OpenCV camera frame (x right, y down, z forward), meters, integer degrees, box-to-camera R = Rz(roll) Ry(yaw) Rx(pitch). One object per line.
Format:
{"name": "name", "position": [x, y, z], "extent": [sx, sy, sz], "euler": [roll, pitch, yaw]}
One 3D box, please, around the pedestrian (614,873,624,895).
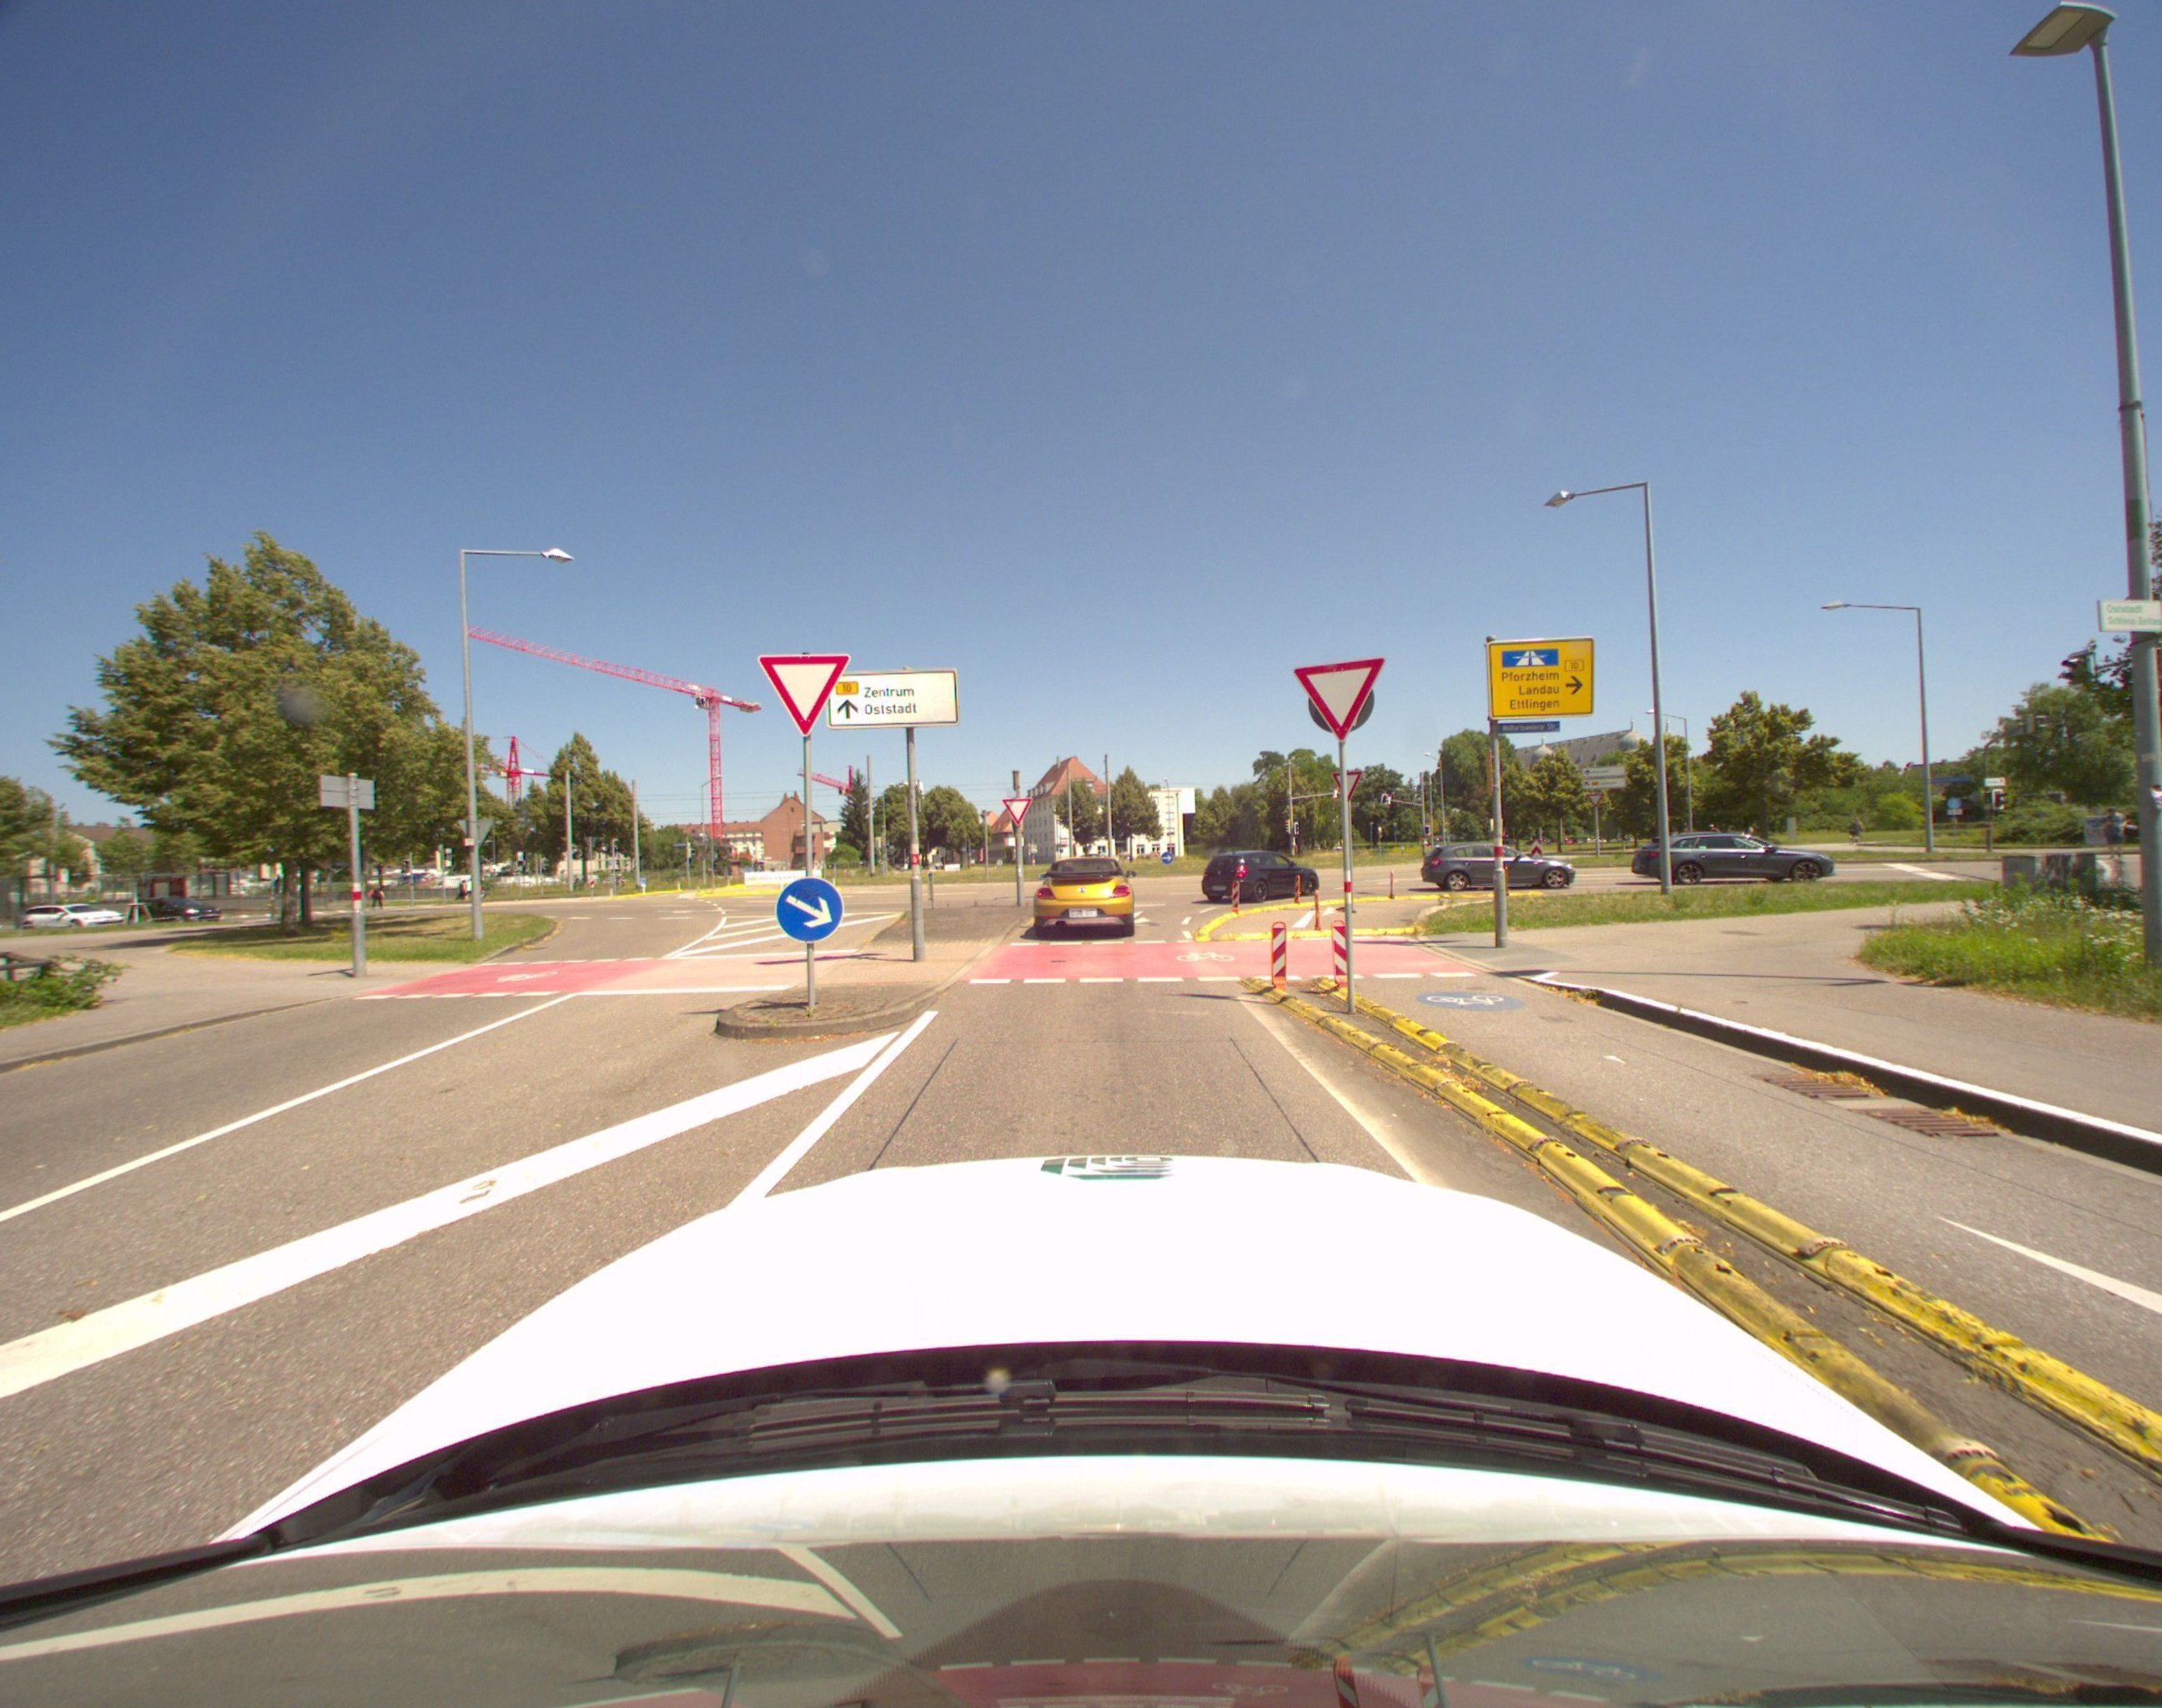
{"name": "pedestrian", "position": [-42.043, 2.740, 74.138], "extent": [0.599, 2.014, 0.595], "euler": [-1, -1, 1]}

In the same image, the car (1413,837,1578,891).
{"name": "car", "position": [12.206, 0.275, 24.220], "extent": [4.040, 1.403, 1.759], "euler": [-2, 1, 12]}

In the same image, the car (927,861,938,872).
{"name": "car", "position": [-27.888, 2.327, 153.298], "extent": [1.994, 2.014, 3.984], "euler": [-1, -1, -11]}

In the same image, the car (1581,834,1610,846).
{"name": "car", "position": [89.310, -2.417, 141.379], "extent": [2.011, 2.014, 3.952], "euler": [0, -1, -42]}

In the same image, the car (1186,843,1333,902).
{"name": "car", "position": [5.151, 0.479, 23.384], "extent": [4.014, 1.440, 1.785], "euler": [-3, 1, -32]}

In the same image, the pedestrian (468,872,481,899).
{"name": "pedestrian", "position": [-43.475, 2.243, 58.394], "extent": [0.631, 1.934, 0.640], "euler": [-2, 0, -33]}

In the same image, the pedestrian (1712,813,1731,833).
{"name": "pedestrian", "position": [47.093, -2.280, 59.845], "extent": [0.707, 1.450, 0.815], "euler": [-1, -1, -9]}

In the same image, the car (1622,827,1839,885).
{"name": "car", "position": [18.297, 0.065, 23.217], "extent": [4.404, 1.418, 2.010], "euler": [-2, 0, 19]}

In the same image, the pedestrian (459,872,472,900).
{"name": "pedestrian", "position": [-43.495, 2.270, 57.563], "extent": [0.631, 1.934, 0.640], "euler": [-2, 0, -33]}

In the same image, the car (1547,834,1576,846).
{"name": "car", "position": [81.874, -2.336, 138.719], "extent": [3.949, 2.014, 2.012], "euler": [-1, -1, 40]}

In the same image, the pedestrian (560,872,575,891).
{"name": "pedestrian", "position": [-44.252, 2.338, 70.146], "extent": [0.773, 1.640, 0.764], "euler": [-1, -1, 14]}

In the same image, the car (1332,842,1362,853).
{"name": "car", "position": [40.763, -1.037, 124.986], "extent": [3.948, 1.574, 2.013], "euler": [-1, -1, 37]}

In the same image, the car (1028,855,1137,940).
{"name": "car", "position": [0.079, 0.739, 15.636], "extent": [1.819, 1.403, 3.663], "euler": [-1, 0, 1]}

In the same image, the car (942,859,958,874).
{"name": "car", "position": [-18.101, 1.776, 112.574], "extent": [1.994, 2.014, 3.984], "euler": [-1, -1, -11]}

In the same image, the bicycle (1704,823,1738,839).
{"name": "bicycle", "position": [47.074, -1.660, 59.930], "extent": [0.727, 1.115, 2.052], "euler": [-1, -1, -9]}

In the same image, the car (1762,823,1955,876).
{"name": "car", "position": [23.953, -0.130, 25.306], "extent": [3.950, 1.422, 1.793], "euler": [-2, 0, 26]}

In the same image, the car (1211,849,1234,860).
{"name": "car", "position": [26.866, 0.017, 154.772], "extent": [3.956, 2.014, 2.009], "euler": [-1, -1, 16]}

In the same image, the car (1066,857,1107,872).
{"name": "car", "position": [0.617, 1.128, 85.417], "extent": [3.961, 1.464, 2.006], "euler": [-1, -1, 11]}

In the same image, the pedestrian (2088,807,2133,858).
{"name": "pedestrian", "position": [33.565, -0.683, 26.561], "extent": [0.747, 1.637, 0.962], "euler": [-2, -1, 44]}

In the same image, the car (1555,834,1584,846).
{"name": "car", "position": [84.054, -2.352, 140.230], "extent": [3.949, 2.014, 2.012], "euler": [-1, -1, 40]}

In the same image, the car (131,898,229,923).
{"name": "car", "position": [-49.690, 3.109, 44.942], "extent": [3.539, 1.212, 1.743], "euler": [-1, -1, 3]}

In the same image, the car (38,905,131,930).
{"name": "car", "position": [-55.248, 3.516, 45.187], "extent": [3.298, 1.225, 1.578], "euler": [-1, -1, 3]}

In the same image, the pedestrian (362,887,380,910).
{"name": "pedestrian", "position": [-44.893, 2.796, 51.513], "extent": [0.539, 1.406, 0.598], "euler": [-3, 0, 5]}

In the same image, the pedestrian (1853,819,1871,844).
{"name": "pedestrian", "position": [53.814, -1.556, 56.126], "extent": [0.674, 1.731, 0.572], "euler": [-1, -1, -16]}

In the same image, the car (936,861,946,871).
{"name": "car", "position": [-28.447, 2.451, 165.130], "extent": [1.994, 2.014, 3.984], "euler": [-1, -1, -11]}

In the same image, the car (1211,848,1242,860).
{"name": "car", "position": [20.954, -0.005, 117.613], "extent": [3.988, 1.684, 1.992], "euler": [-1, -1, -11]}

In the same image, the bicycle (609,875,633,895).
{"name": "bicycle", "position": [-40.888, 2.771, 72.354], "extent": [0.554, 1.684, 2.094], "euler": [-1, -1, 15]}

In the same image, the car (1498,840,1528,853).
{"name": "car", "position": [71.026, -1.215, 133.889], "extent": [3.949, 2.014, 2.012], "euler": [-1, -1, 40]}
